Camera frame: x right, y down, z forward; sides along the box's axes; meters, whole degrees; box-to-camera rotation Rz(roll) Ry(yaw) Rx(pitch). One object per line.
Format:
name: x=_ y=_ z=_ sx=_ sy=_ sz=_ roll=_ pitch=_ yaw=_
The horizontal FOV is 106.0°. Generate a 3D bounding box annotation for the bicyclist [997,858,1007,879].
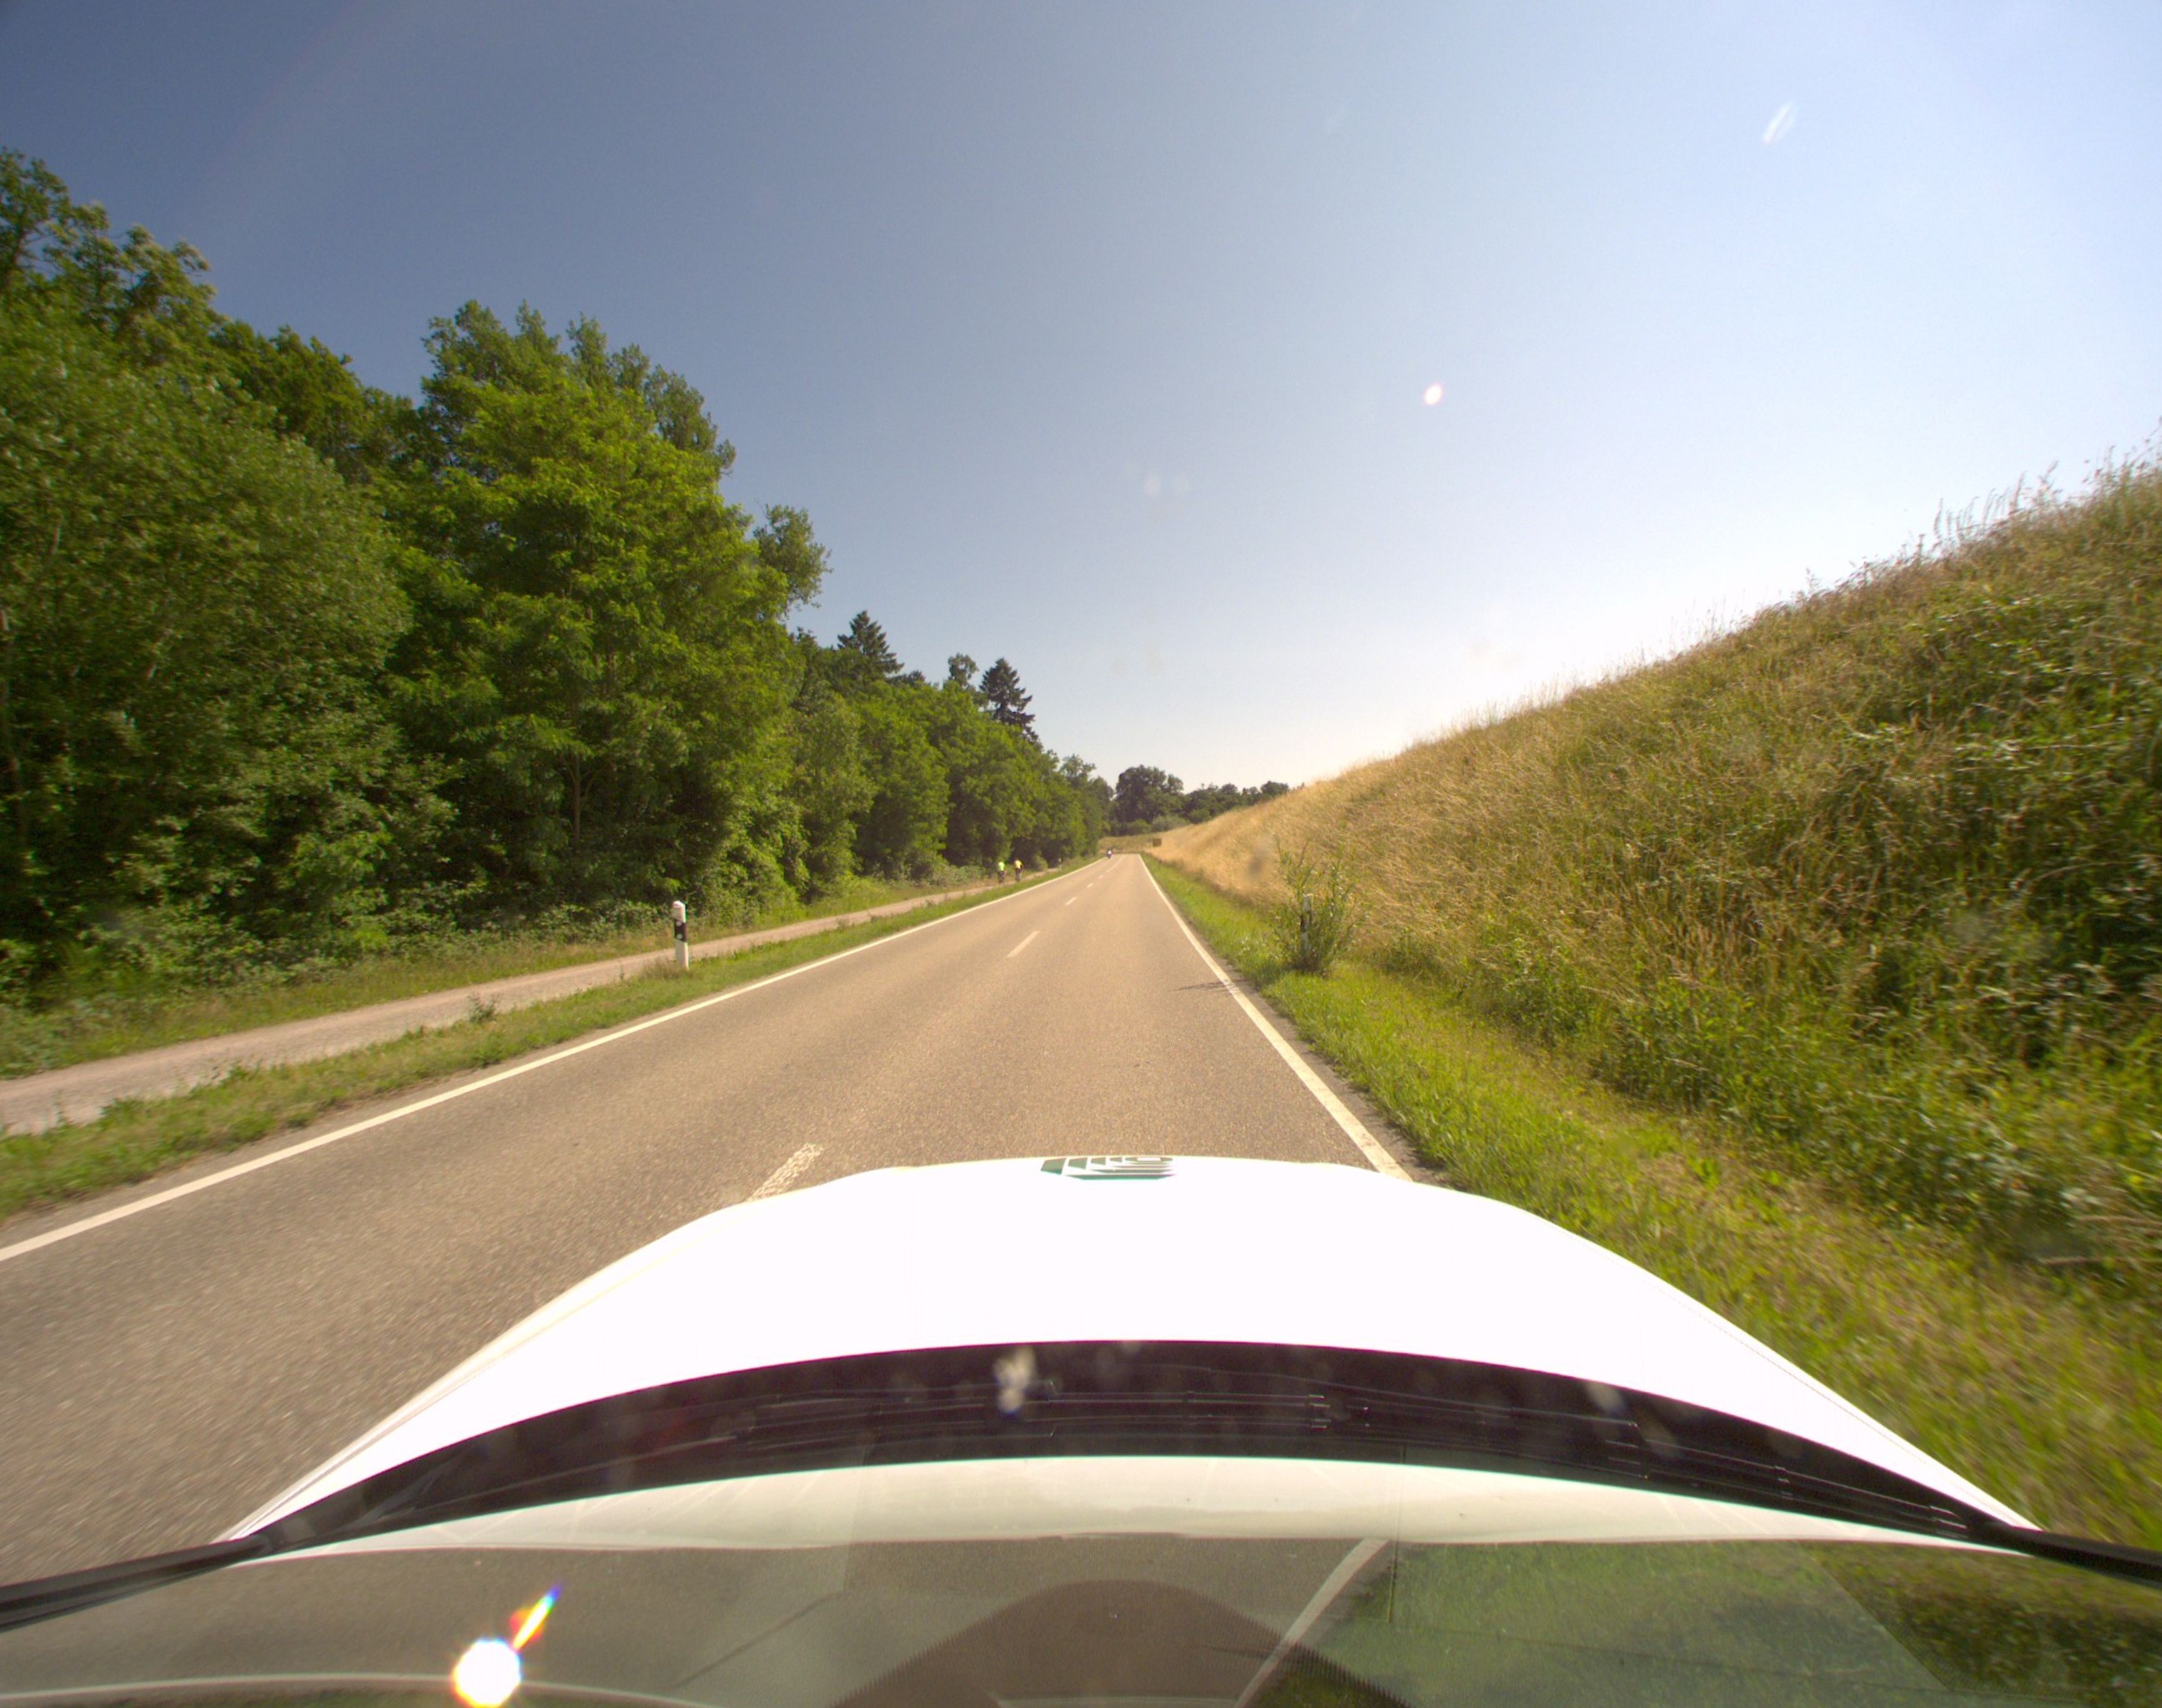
bicyclist: x=-5.447 y=0.996 z=55.999 sx=0.602 sy=1.415 sz=0.703 roll=0 pitch=-2 yaw=3

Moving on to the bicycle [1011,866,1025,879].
bicycle: x=-4.309 y=1.265 z=55.572 sx=0.637 sy=0.788 sz=2.139 roll=-4 pitch=0 yaw=4

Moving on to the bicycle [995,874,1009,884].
bicycle: x=-5.429 y=1.720 z=55.964 sx=0.616 sy=0.681 sz=2.138 roll=0 pitch=-1 yaw=4

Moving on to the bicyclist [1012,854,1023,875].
bicyclist: x=-4.343 y=0.713 z=55.557 sx=0.602 sy=1.415 sz=0.703 roll=-3 pitch=0 yaw=3
